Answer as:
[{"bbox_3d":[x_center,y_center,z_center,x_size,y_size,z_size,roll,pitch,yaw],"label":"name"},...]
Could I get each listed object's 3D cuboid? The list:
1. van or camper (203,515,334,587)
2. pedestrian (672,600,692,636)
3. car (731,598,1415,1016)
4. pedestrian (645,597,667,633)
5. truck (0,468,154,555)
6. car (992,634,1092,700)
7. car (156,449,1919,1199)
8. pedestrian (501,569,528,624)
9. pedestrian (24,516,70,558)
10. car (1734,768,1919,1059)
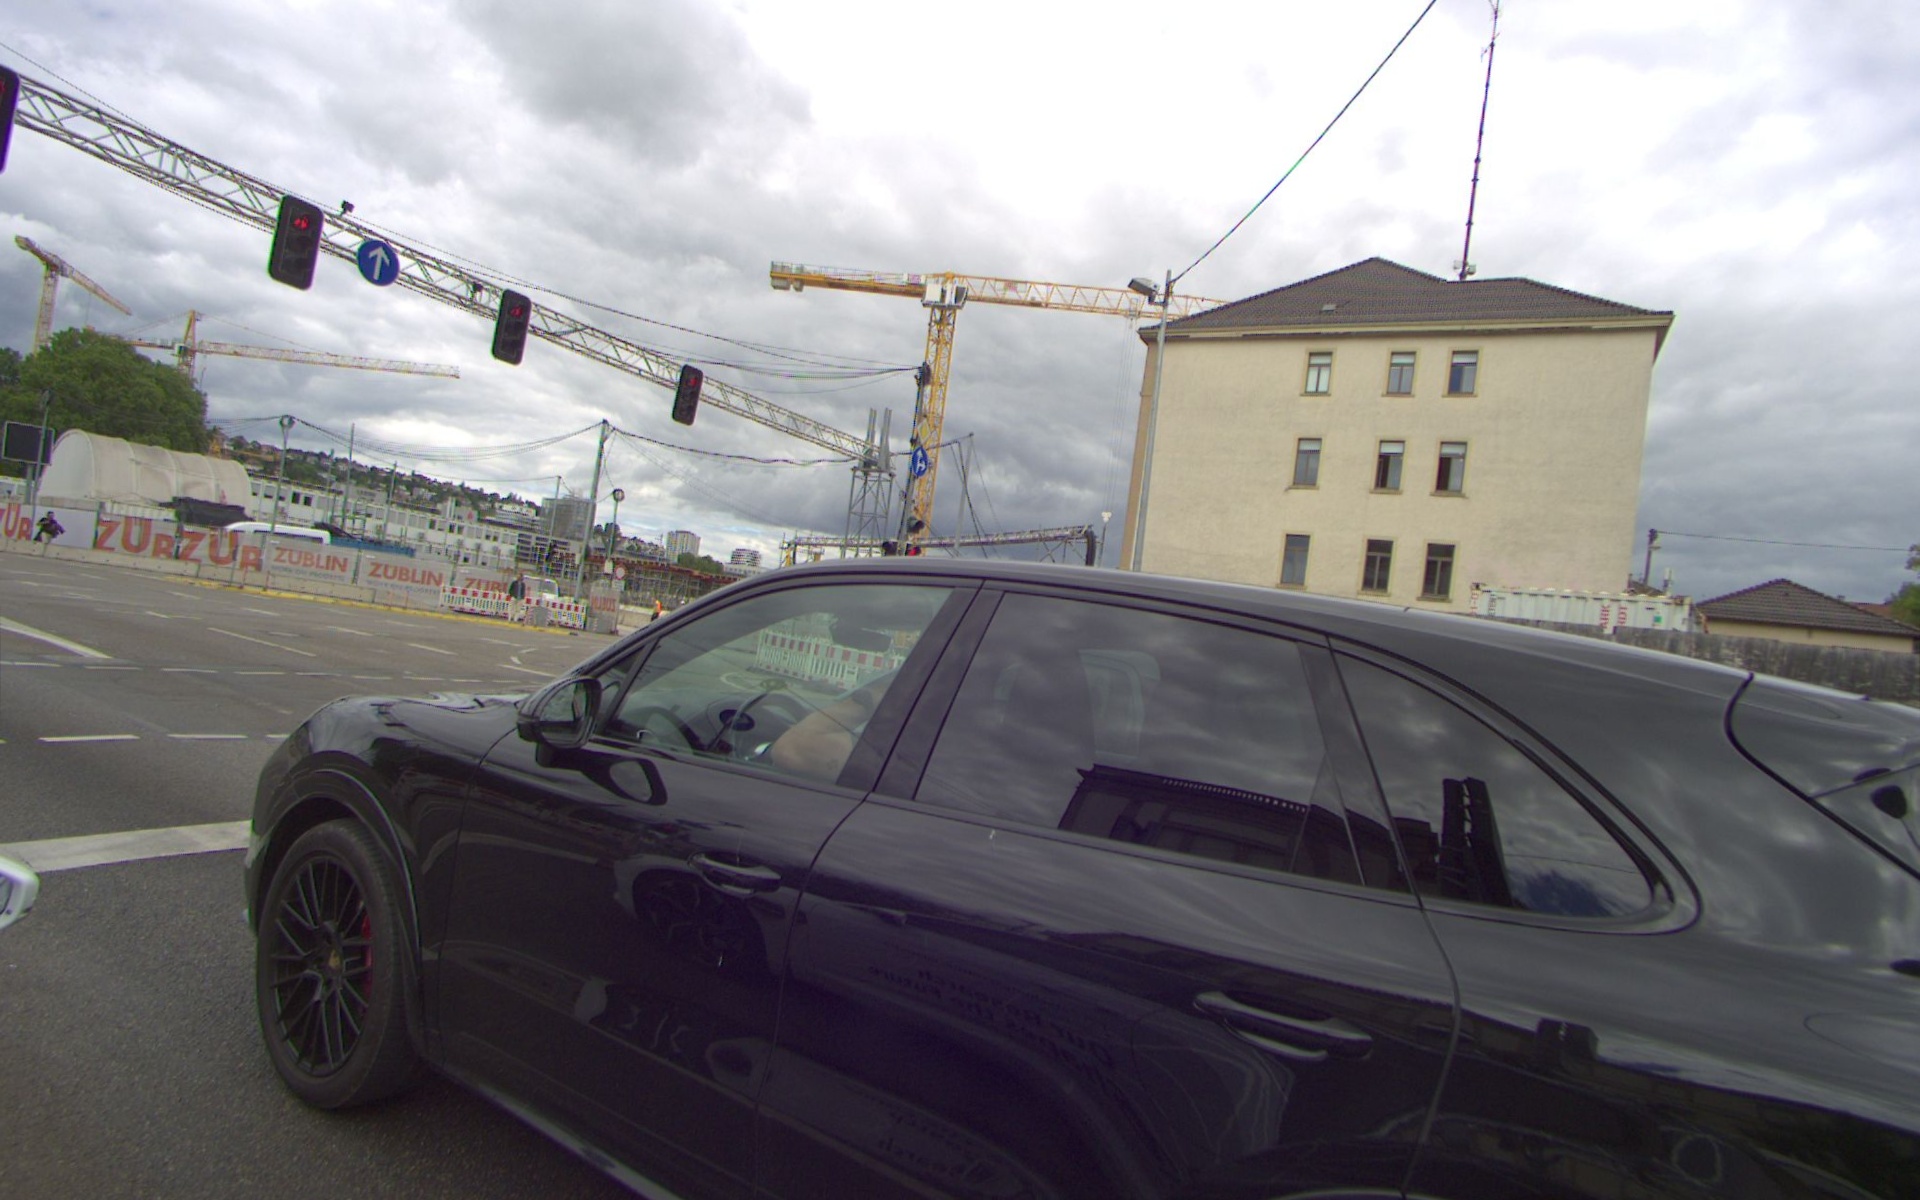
[{"bbox_3d":[-29.802,-2.071,43.405,4.204,2.384,1.976,10,-3,-44],"label":"van or camper"},{"bbox_3d":[-14.184,0.929,51.322,0.508,1.737,0.654,7,-1,21],"label":"pedestrian"},{"bbox_3d":[0.607,1.043,6.371,3.818,1.561,1.667,7,-2,33],"label":"car"},{"bbox_3d":[-16.112,0.811,53.340,0.607,1.816,0.654,7,-1,23],"label":"pedestrian"},{"bbox_3d":[-57.894,-5.792,61.918,3.875,4.086,13.089,8,-2,12],"label":"truck"},{"bbox_3d":[4.129,3.347,49.393,2.030,2.623,6.006,7,-3,33],"label":"car"},{"bbox_3d":[0.052,0.715,2.695,4.559,1.705,1.959,7,-2,33],"label":"car"},{"bbox_3d":[-17.267,-0.120,38.959,0.647,2.037,0.513,8,-1,-33],"label":"pedestrian"},{"bbox_3d":[-34.961,-2.398,38.520,0.887,1.393,0.800,8,-1,12],"label":"pedestrian"},{"bbox_3d":[7.037,2.080,5.710,3.936,1.496,1.662,6,-2,34],"label":"car"}]
